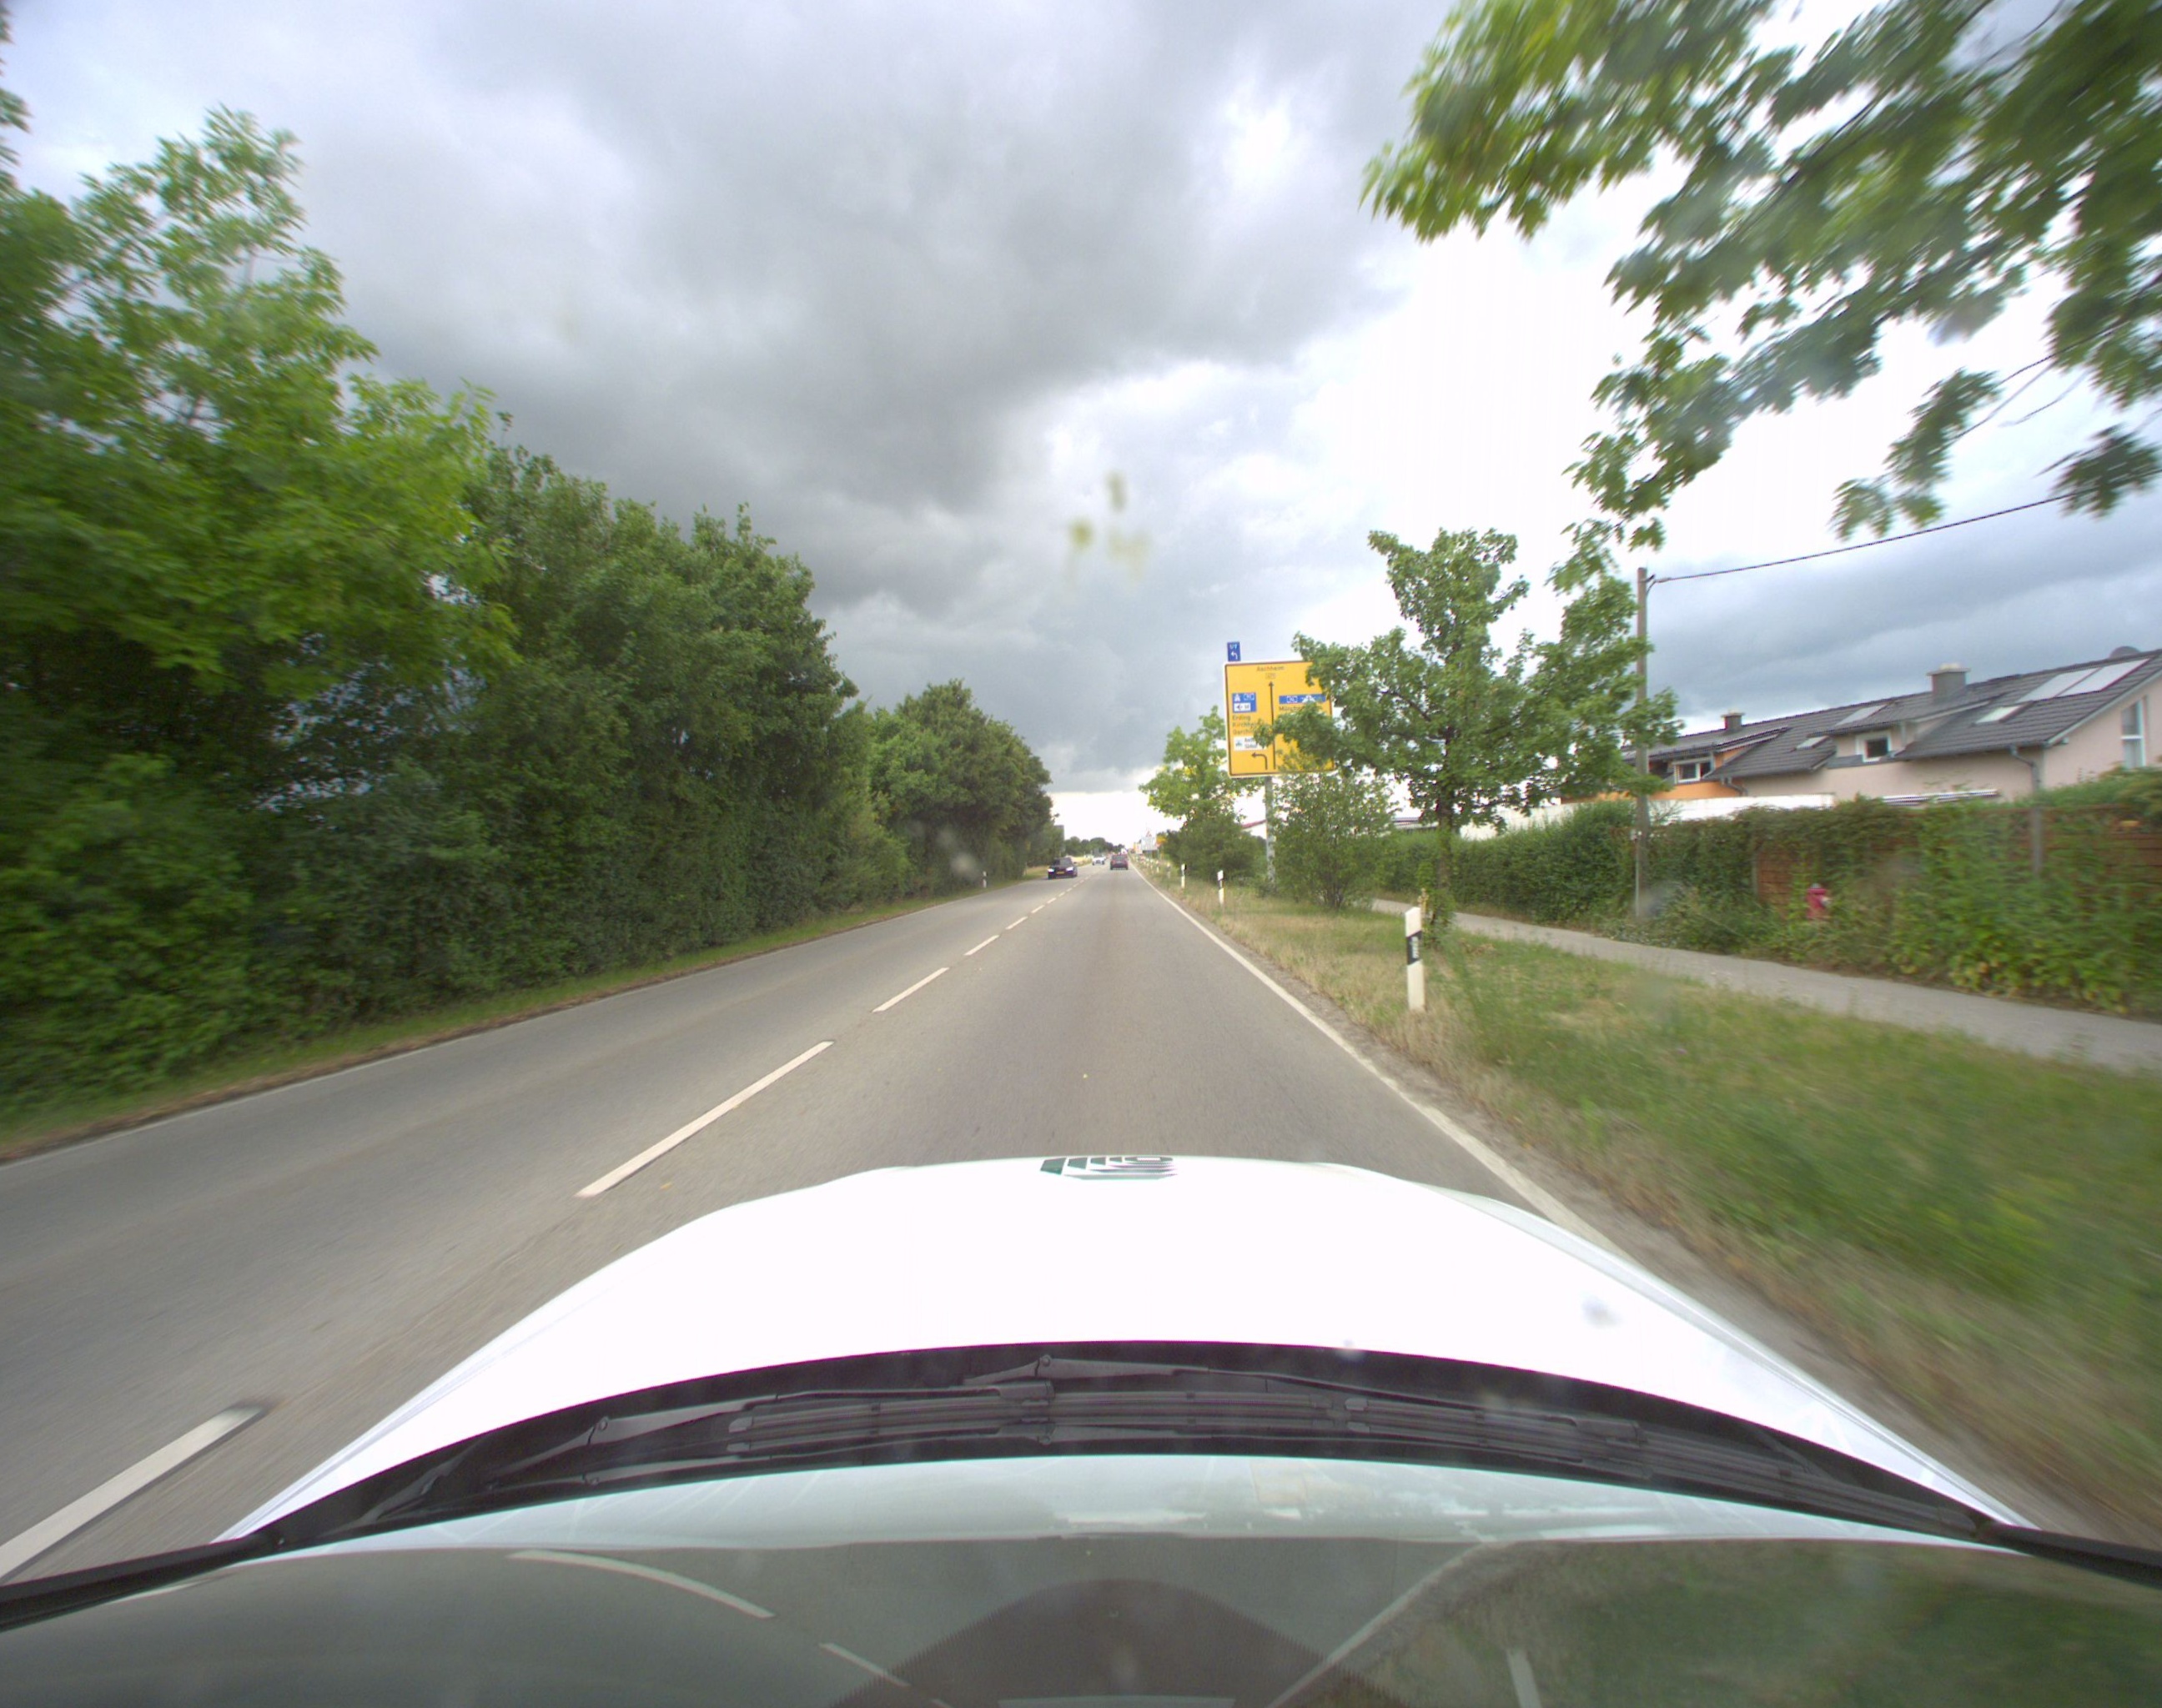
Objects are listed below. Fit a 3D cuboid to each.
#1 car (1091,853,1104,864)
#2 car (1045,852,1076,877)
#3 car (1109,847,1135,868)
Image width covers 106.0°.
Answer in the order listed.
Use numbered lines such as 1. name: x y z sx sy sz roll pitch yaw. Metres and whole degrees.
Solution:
1. car: 2.736 0.793 134.915 1.985 1.684 4.813 -3 0 3
2. car: -1.425 0.753 58.694 1.934 1.586 4.556 -4 0 1
3. car: 4.169 0.334 83.714 2.364 1.880 4.478 -4 0 1
